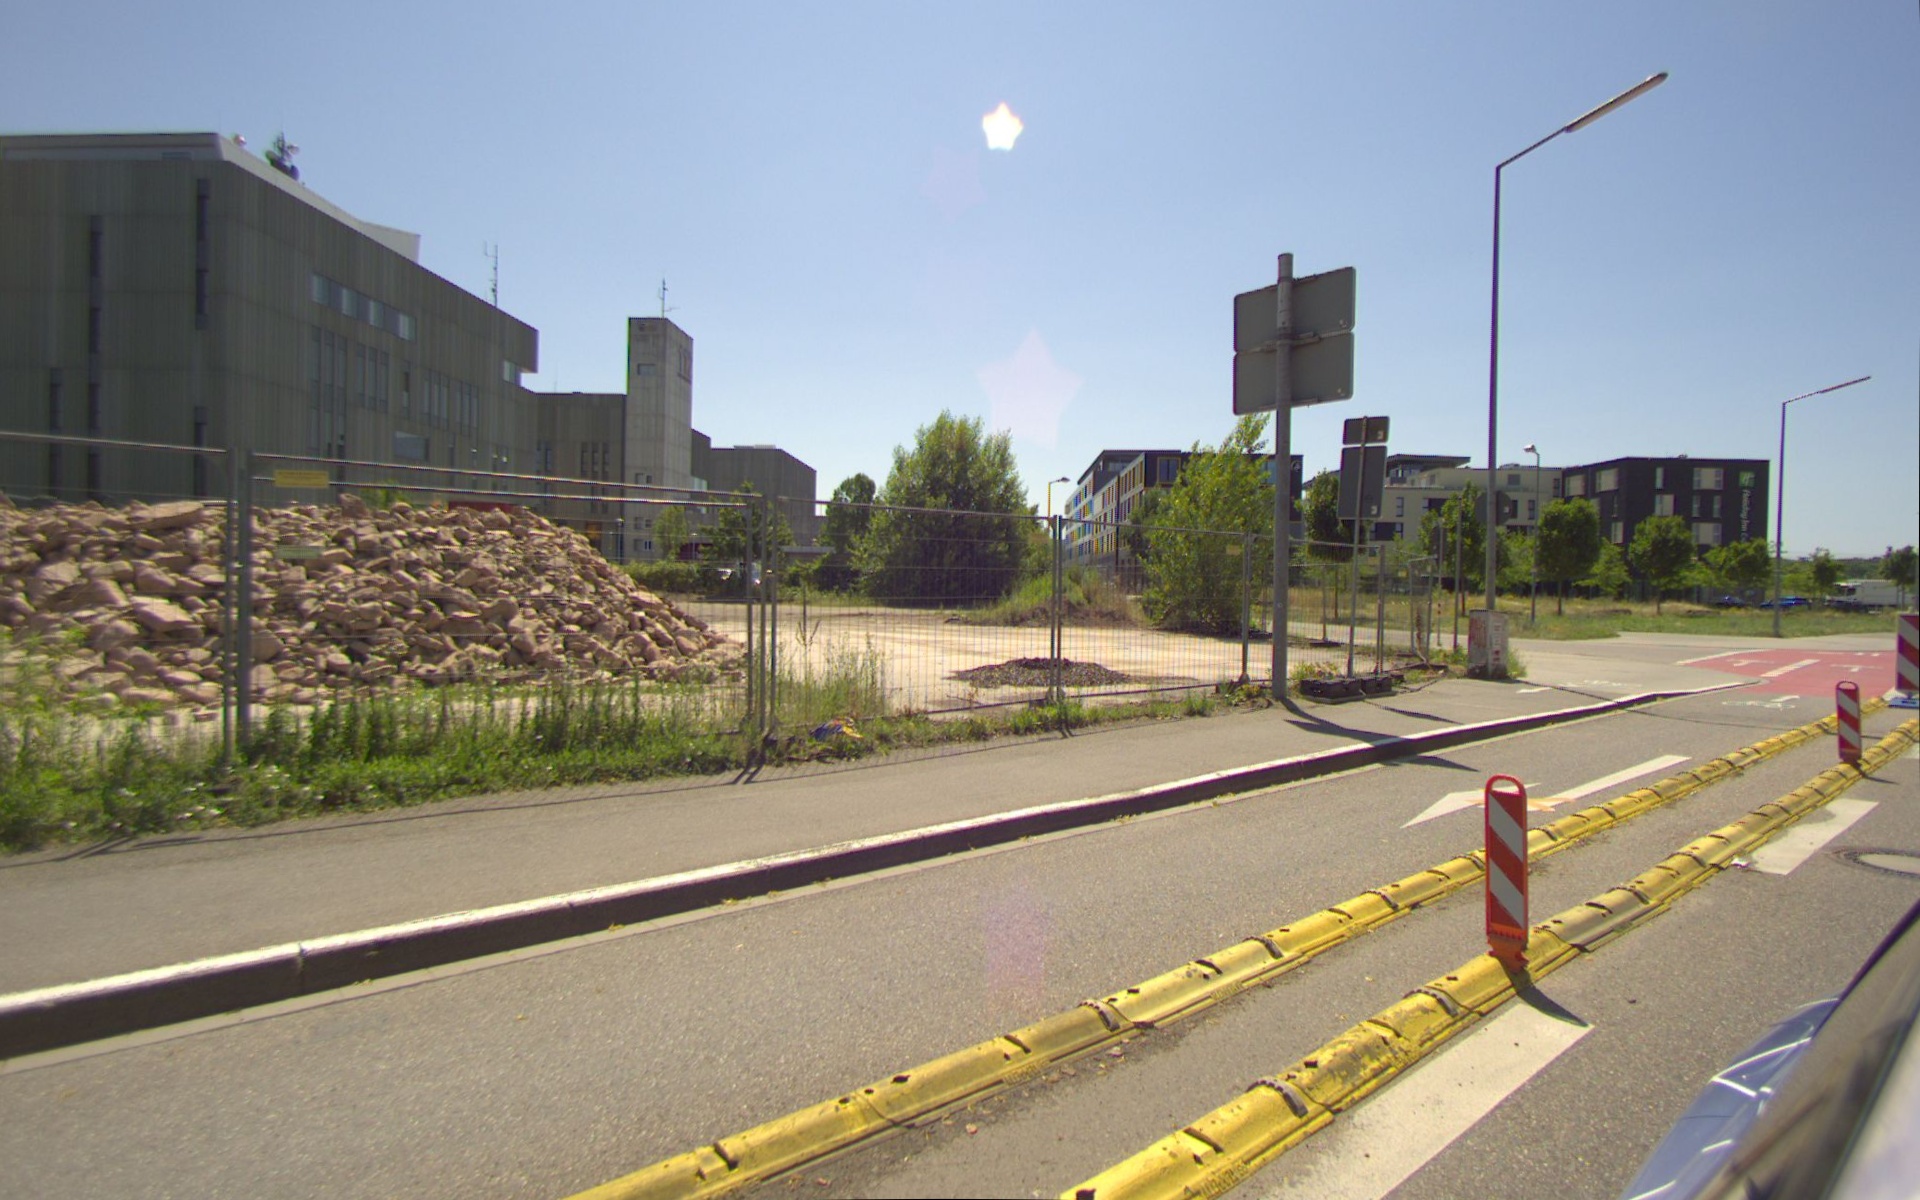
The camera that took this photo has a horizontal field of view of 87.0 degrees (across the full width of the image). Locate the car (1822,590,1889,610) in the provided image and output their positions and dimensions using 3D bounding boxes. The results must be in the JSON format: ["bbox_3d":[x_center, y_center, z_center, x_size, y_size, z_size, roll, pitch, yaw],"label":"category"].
[{"bbox_3d":[79.673,-0.002,90.127,1.994,1.581,4.508,1,1,1],"label":"car"}]

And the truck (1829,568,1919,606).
[{"bbox_3d":[94.020,-1.232,100.649,11.921,3.503,3.017,2,3,4],"label":"truck"}]

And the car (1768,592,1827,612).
[{"bbox_3d":[75.132,0.153,90.867,1.918,1.672,4.070,1,1,2],"label":"car"}]

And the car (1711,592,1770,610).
[{"bbox_3d":[70.241,0.104,91.121,1.923,1.462,4.131,1,1,-4],"label":"car"}]

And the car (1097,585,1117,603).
[{"bbox_3d":[16.604,-0.651,114.525,1.924,1.953,3.489,0,0,4],"label":"car"}]

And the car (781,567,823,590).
[{"bbox_3d":[-10.745,-1.468,69.039,1.963,1.454,5.080,2,2,1],"label":"car"}]

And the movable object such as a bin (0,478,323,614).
[{"bbox_3d":[-23.722,-1.383,27.441,10.288,3.300,4.948,0,2,-42],"label":"movable object such as a bin"}]
